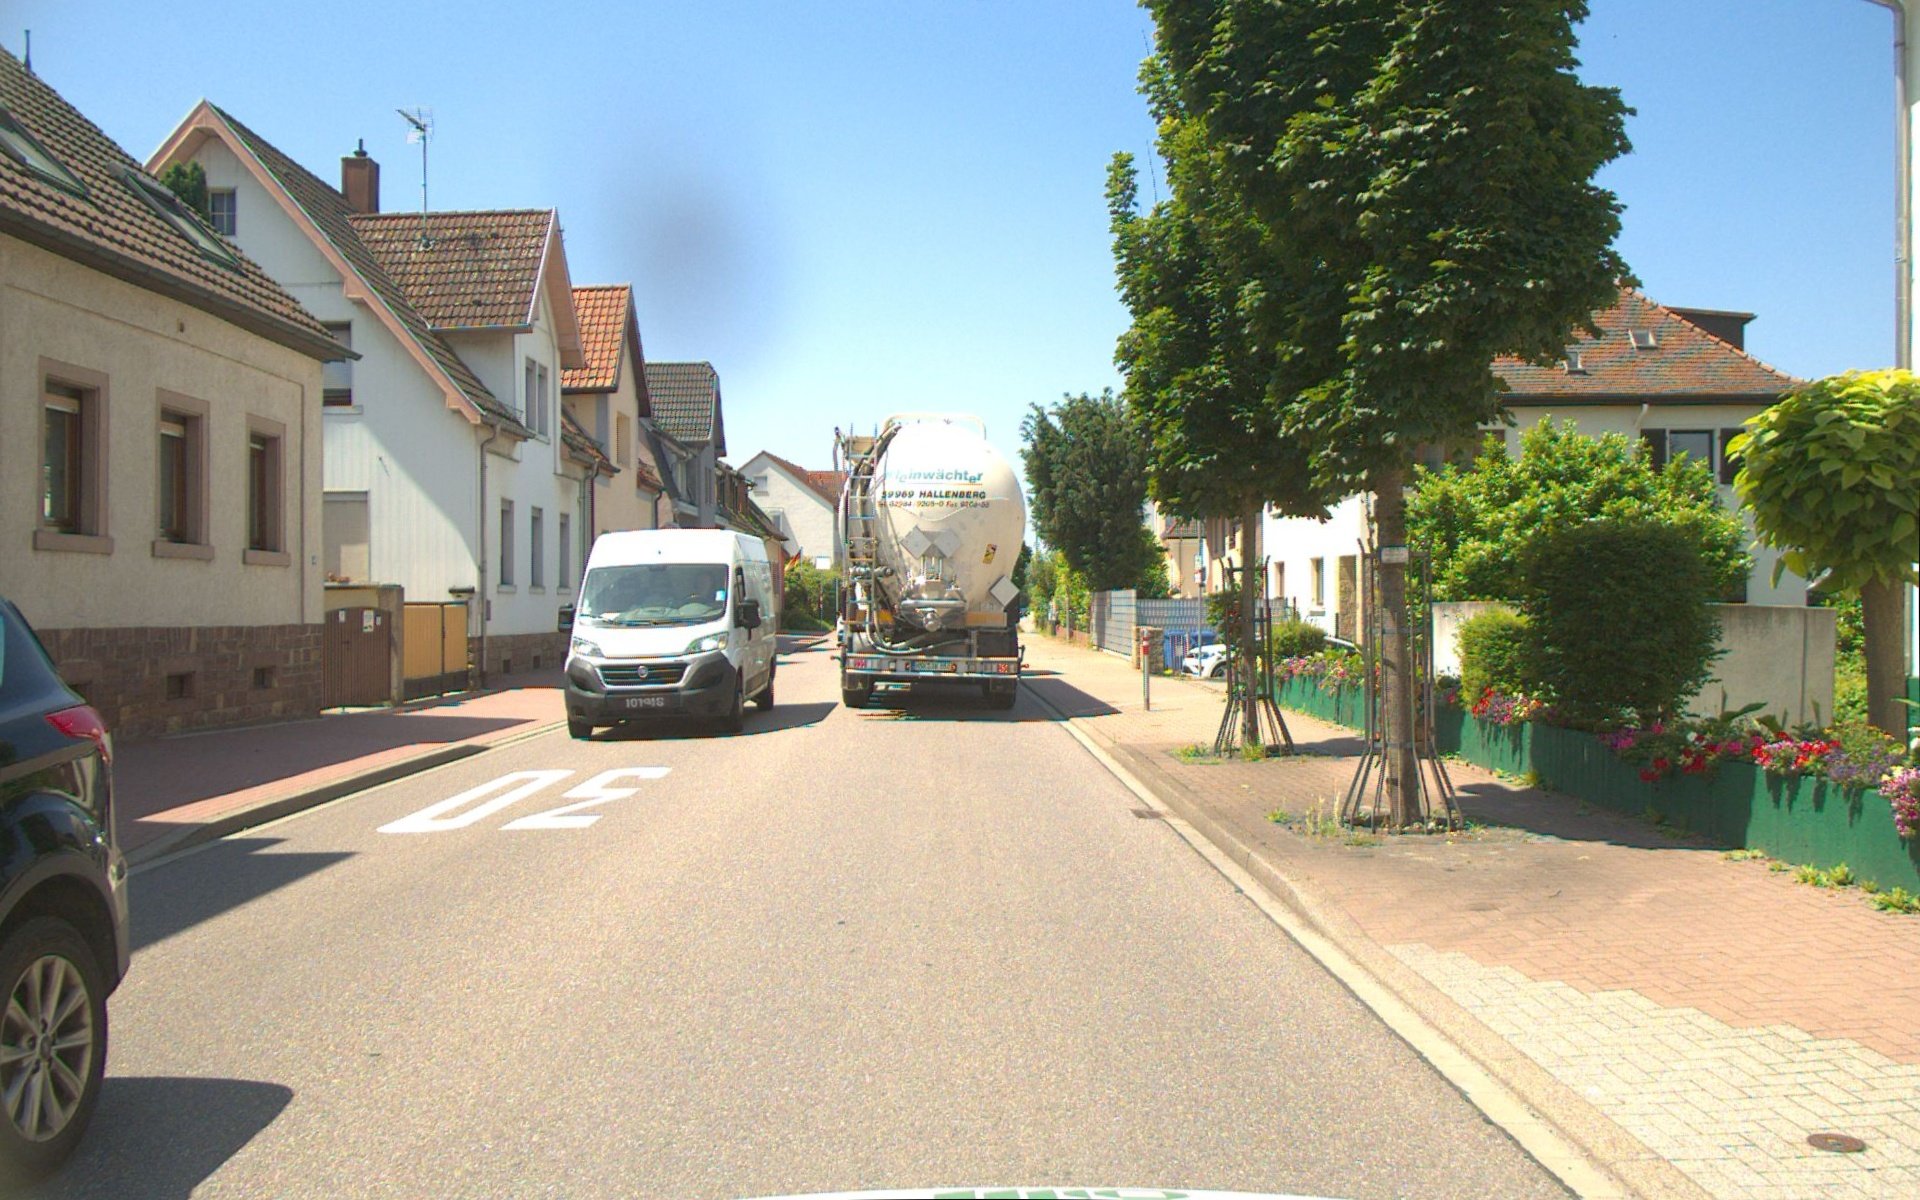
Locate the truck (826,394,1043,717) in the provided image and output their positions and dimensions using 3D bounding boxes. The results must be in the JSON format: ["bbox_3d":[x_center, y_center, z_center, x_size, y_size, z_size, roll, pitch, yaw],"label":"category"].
[{"bbox_3d":[-0.427,-0.509,24.976,2.677,4.029,8.138,1,-1,-2],"label":"truck"}]

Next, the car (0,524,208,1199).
[{"bbox_3d":[-3.193,0.689,2.935,1.802,1.699,4.322,-1,0,-2],"label":"car"}]

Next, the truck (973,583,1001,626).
[{"bbox_3d":[2.172,0.348,128.857,1.952,3.192,9.450,1,0,2],"label":"truck"}]

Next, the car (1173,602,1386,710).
[{"bbox_3d":[6.915,1.203,36.077,4.090,1.613,1.906,10,-1,-1],"label":"car"}]

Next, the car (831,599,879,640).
[{"bbox_3d":[-4.456,0.817,70.574,1.813,1.599,4.253,-3,0,-1],"label":"car"}]

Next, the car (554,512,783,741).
[{"bbox_3d":[-3.572,0.300,21.489,2.028,2.498,6.005,-2,0,-2],"label":"car"}]
